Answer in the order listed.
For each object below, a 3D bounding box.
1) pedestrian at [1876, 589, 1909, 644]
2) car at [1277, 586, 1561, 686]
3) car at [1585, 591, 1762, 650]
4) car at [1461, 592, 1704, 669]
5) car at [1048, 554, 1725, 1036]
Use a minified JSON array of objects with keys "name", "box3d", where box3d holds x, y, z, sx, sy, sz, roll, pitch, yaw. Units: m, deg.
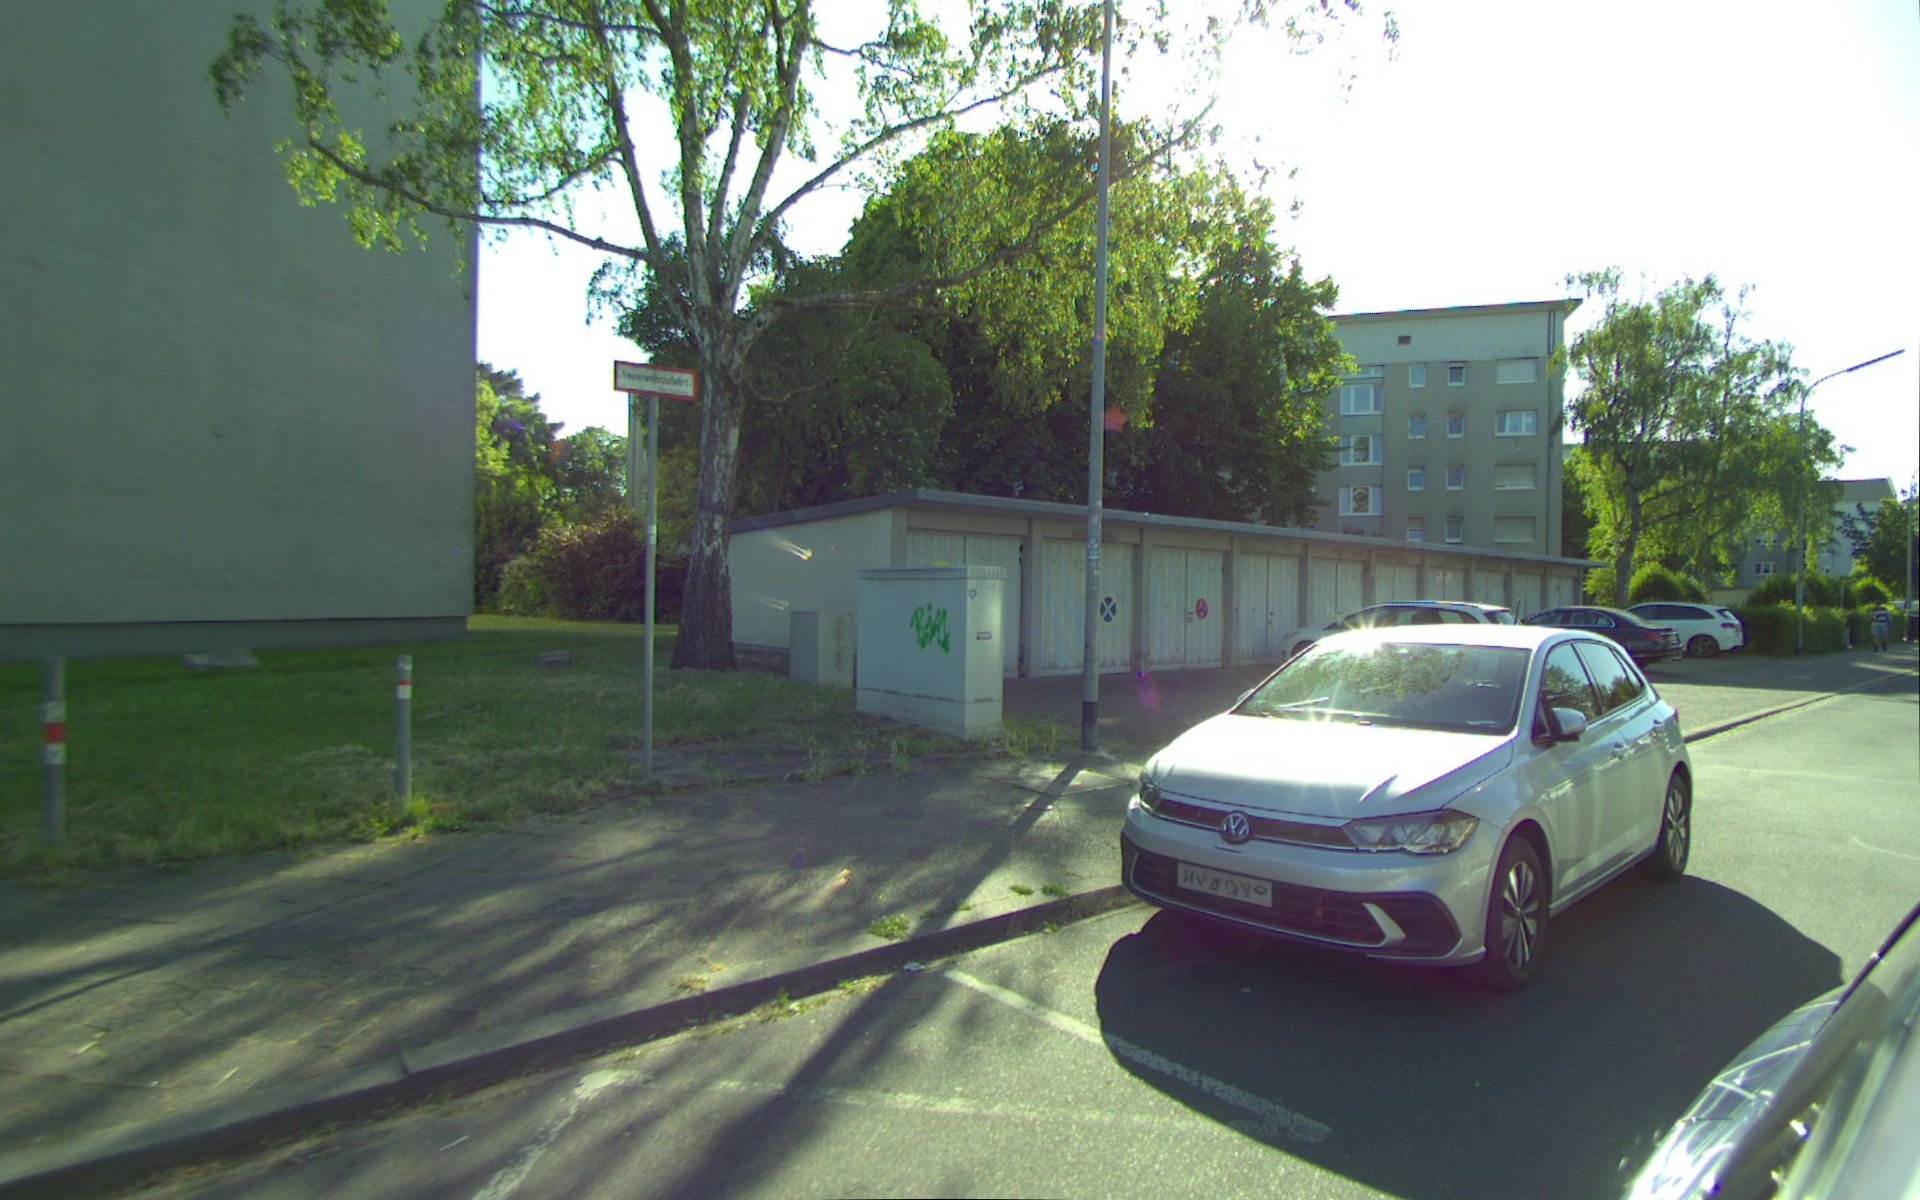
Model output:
[{"name":"pedestrian","box3d":[33.354,0.574,36.193,0.857,1.911,0.705,1,2,-40]},{"name":"car","box3d":[8.301,0.566,18.660,1.796,1.532,4.425,1,1,-40]},{"name":"car","box3d":[20.886,0.551,29.725,1.798,1.532,3.947,1,1,-43]},{"name":"car","box3d":[14.484,0.631,23.799,1.796,1.532,4.524,1,1,-39]},{"name":"car","box3d":[2.462,0.645,5.273,4.035,1.533,1.755,0,-2,-43]}]
